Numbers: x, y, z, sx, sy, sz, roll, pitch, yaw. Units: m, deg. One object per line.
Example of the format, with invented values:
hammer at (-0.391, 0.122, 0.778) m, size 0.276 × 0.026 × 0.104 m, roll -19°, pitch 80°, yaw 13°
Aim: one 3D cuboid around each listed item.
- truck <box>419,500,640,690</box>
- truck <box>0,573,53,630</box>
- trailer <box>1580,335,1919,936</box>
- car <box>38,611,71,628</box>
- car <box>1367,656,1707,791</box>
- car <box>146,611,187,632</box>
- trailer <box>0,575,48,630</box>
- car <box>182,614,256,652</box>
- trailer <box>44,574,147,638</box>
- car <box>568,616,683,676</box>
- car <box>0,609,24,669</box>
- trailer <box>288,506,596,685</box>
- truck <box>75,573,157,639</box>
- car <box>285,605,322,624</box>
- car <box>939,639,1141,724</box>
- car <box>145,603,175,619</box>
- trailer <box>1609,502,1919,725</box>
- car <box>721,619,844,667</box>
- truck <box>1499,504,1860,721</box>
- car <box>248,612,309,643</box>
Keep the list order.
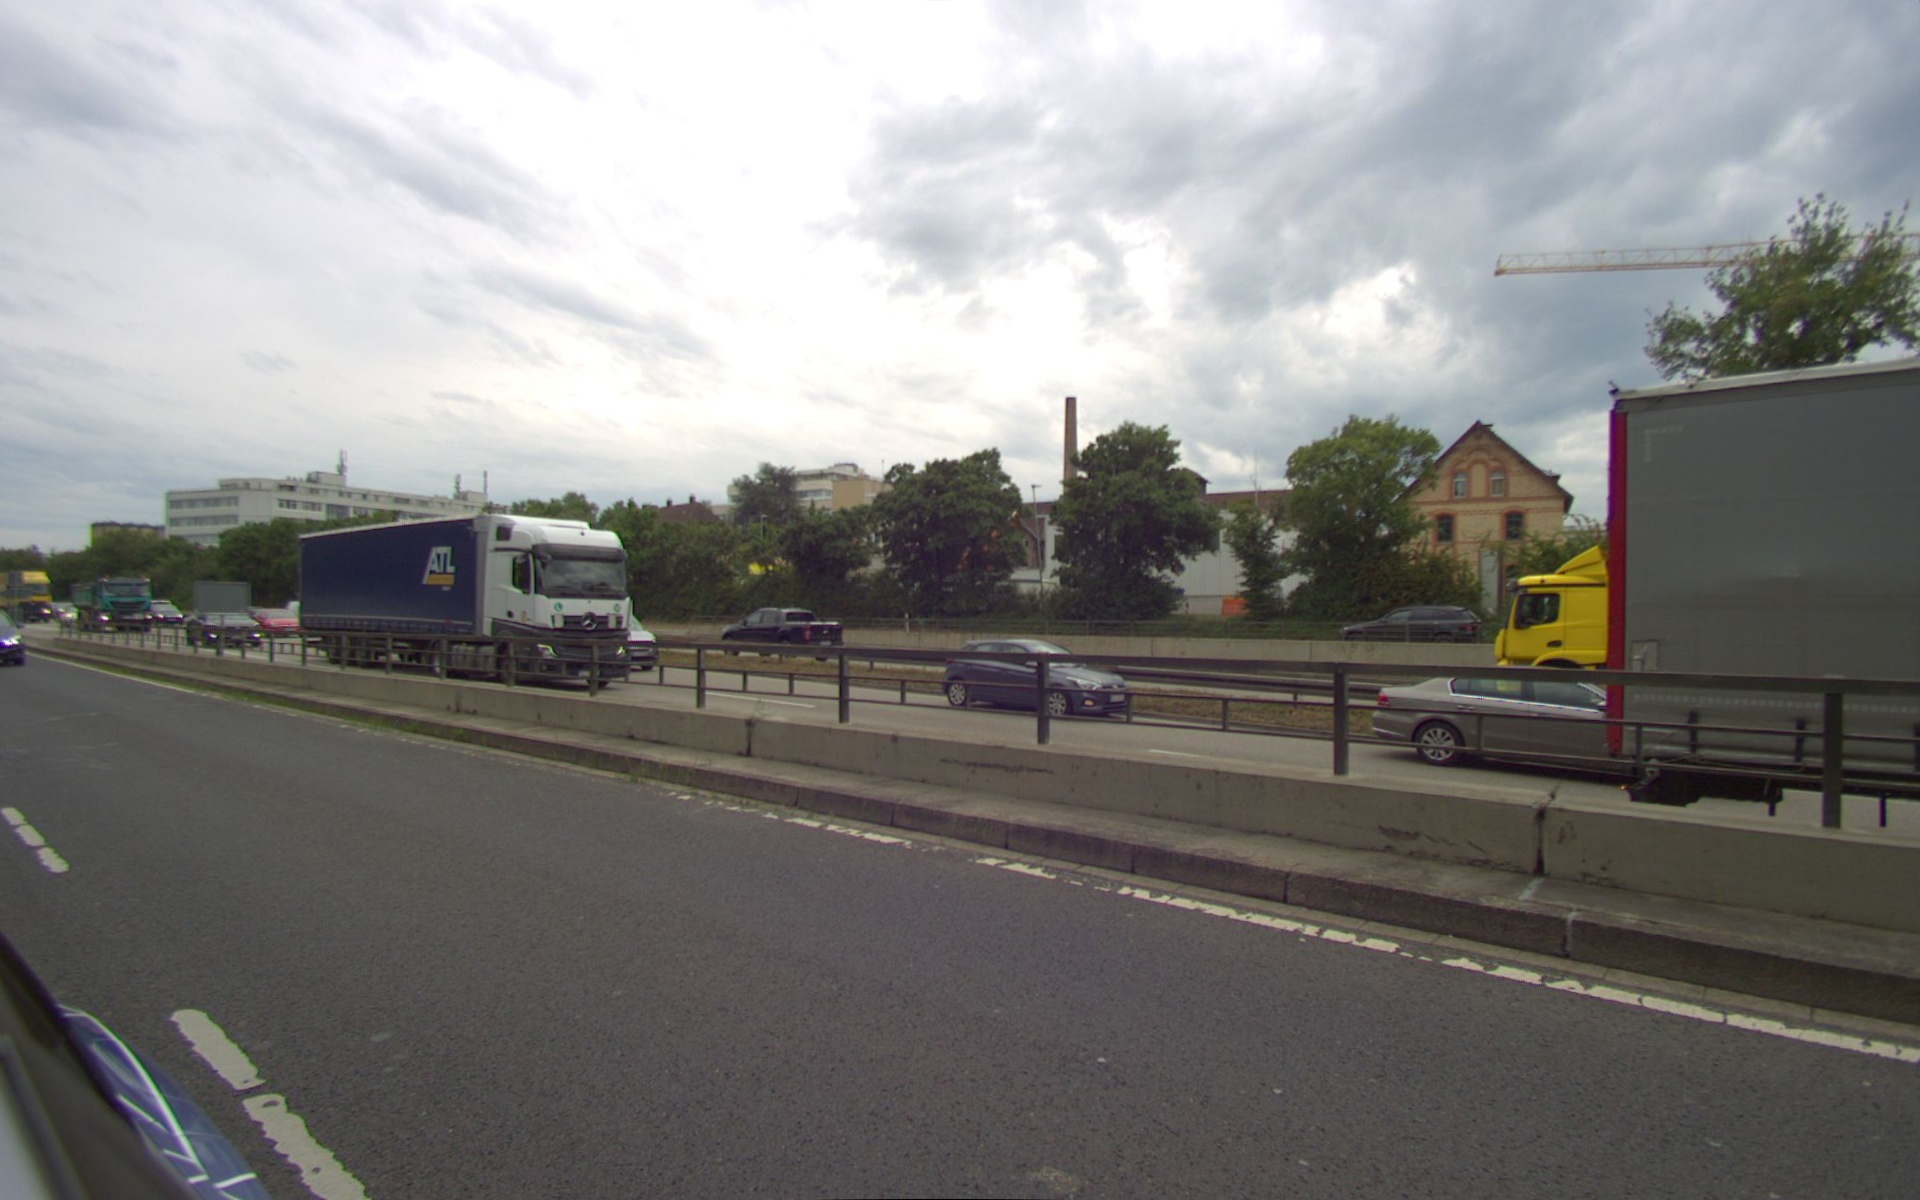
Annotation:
truck at (-10.561, -0.055, 24.546) m, size 6.094 × 4.067 × 2.498 m, roll -1°, pitch -2°, yaw 41°
truck at (-75.620, 0.191, 81.598) m, size 6.516 × 4.377 × 2.855 m, roll -1°, pitch -2°, yaw 41°
trailer at (11.315, 0.217, 4.340) m, size 14.548 × 4.067 × 2.623 m, roll -1°, pitch -2°, yaw 41°
car at (-83.781, 1.790, 93.600) m, size 4.420 × 1.575 × 1.761 m, roll -1°, pitch 0°, yaw 41°
car at (8.003, 1.616, 14.248) m, size 3.896 × 1.452 × 1.606 m, roll -1°, pitch 0°, yaw 42°
car at (-56.806, 1.512, 72.433) m, size 3.998 × 1.452 × 1.607 m, roll -1°, pitch 0°, yaw 41°
trailer at (-82.550, 0.309, 87.716) m, size 19.913 × 4.387 × 2.860 m, roll -1°, pitch -2°, yaw 41°
car at (-30.064, 1.294, 41.024) m, size 3.998 × 1.452 × 1.607 m, roll -1°, pitch 0°, yaw 41°
trailer at (-54.819, 0.429, 63.886) m, size 16.742 × 3.668 × 2.580 m, roll -1°, pitch -2°, yaw 41°
car at (-10.236, 1.347, 30.850) m, size 3.895 × 1.682 × 1.607 m, roll -1°, pitch 0°, yaw 41°
car at (-27.361, 1.067, 27.974) m, size 4.420 × 1.575 × 1.761 m, roll -1°, pitch 0°, yaw 41°
trailer at (-15.313, -0.023, 28.758) m, size 14.777 × 4.067 × 2.498 m, roll -1°, pitch -2°, yaw 41°
truck at (-49.209, 0.376, 58.920) m, size 6.665 × 3.663 × 2.611 m, roll -1°, pitch -2°, yaw 41°
car at (-54.327, 1.165, 83.707) m, size 3.895 × 1.523 × 1.607 m, roll -1°, pitch 0°, yaw 41°
car at (1.537, 1.563, 20.397) m, size 3.896 × 1.452 × 1.606 m, roll 0°, pitch -2°, yaw 42°
car at (-80.032, 1.123, 101.245) m, size 3.895 × 1.523 × 1.711 m, roll -1°, pitch 0°, yaw 41°
trailer at (19.869, 0.258, 18.054) m, size 13.769 × 4.067 × 2.498 m, roll -1°, pitch -2°, yaw 41°
car at (-6.359, 1.467, 35.904) m, size 4.837 × 1.564 × 1.607 m, roll -1°, pitch 0°, yaw 41°
truck at (15.336, 0.282, 21.914) m, size 6.093 × 4.067 × 2.498 m, roll -1°, pitch -2°, yaw 41°
car at (-34.500, 1.359, 51.199) m, size 3.998 × 1.452 × 1.607 m, roll -1°, pitch 0°, yaw 41°
